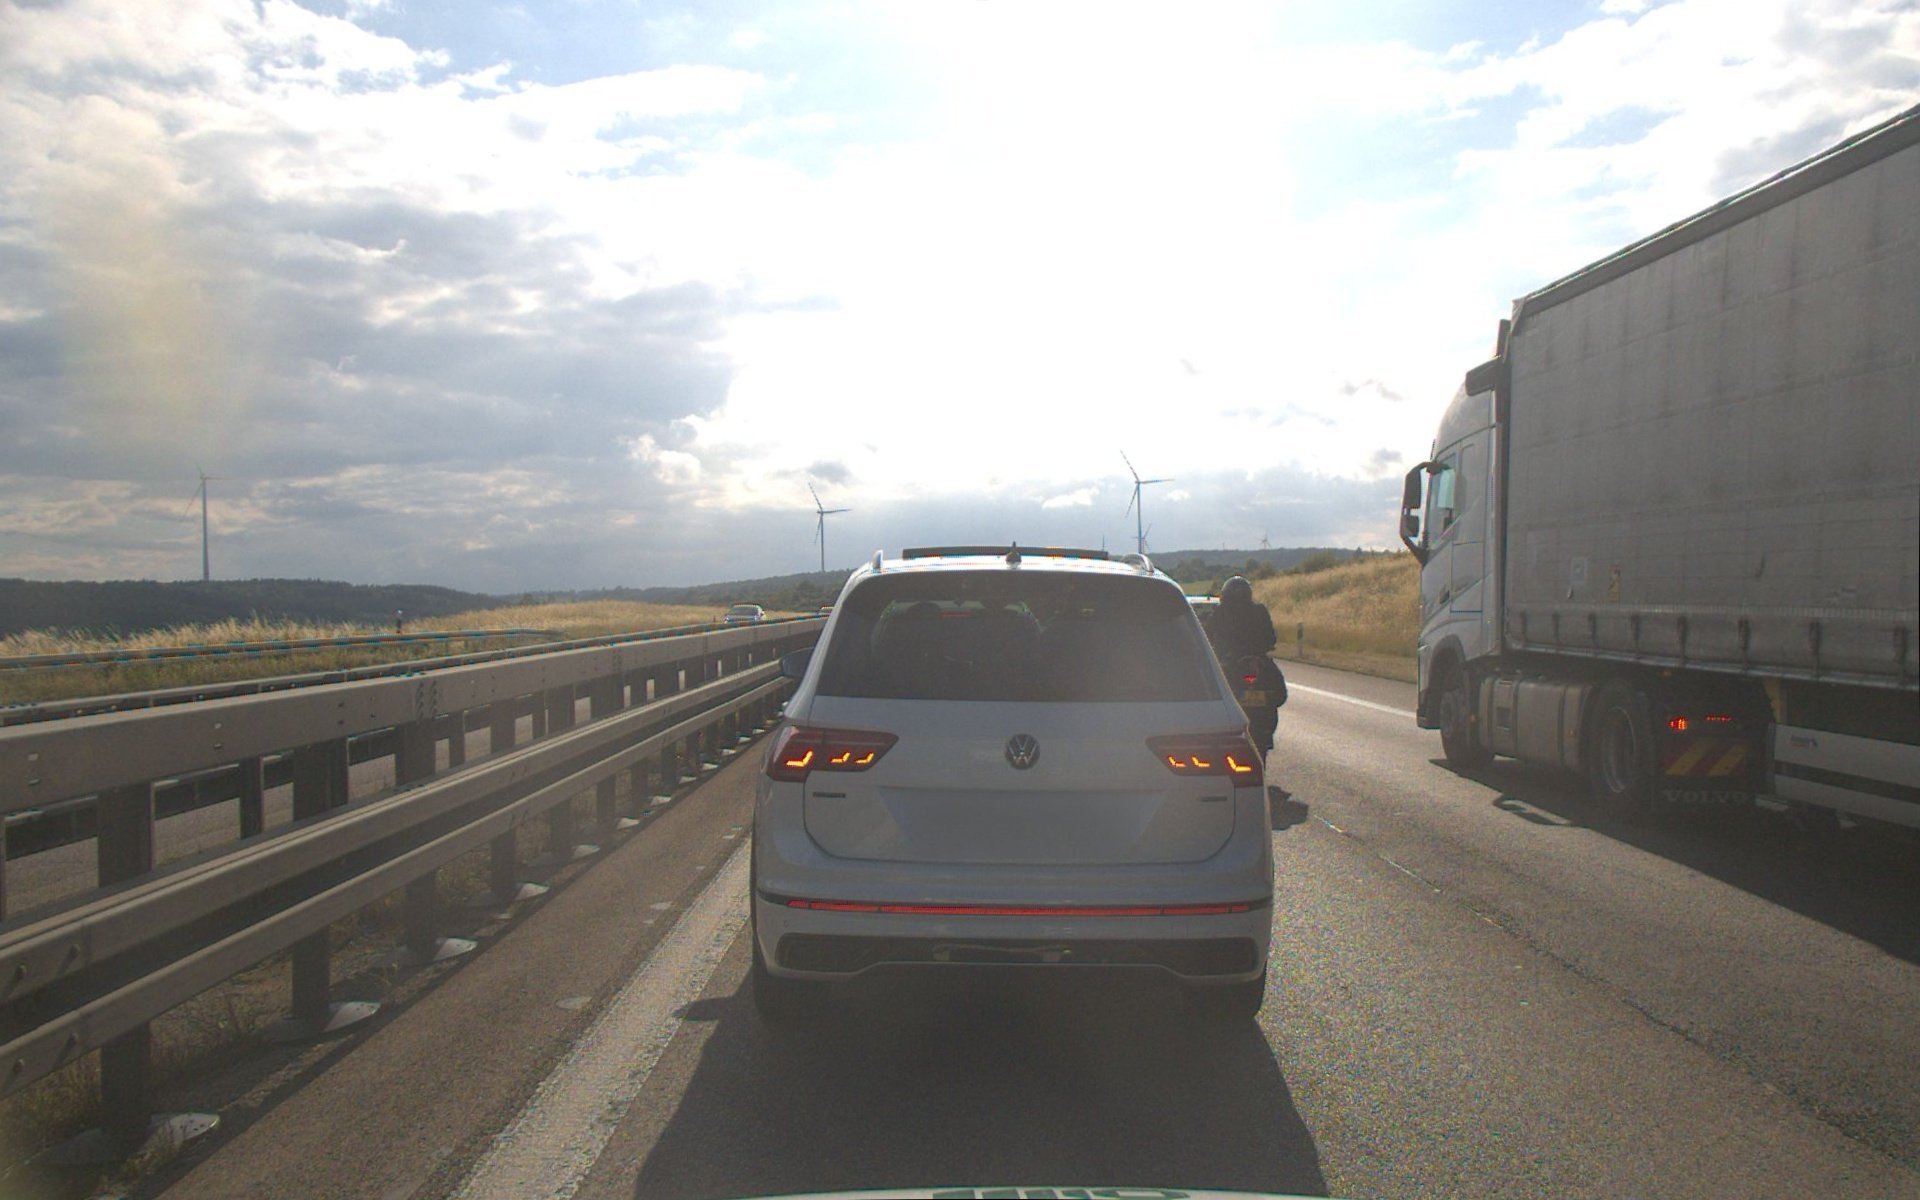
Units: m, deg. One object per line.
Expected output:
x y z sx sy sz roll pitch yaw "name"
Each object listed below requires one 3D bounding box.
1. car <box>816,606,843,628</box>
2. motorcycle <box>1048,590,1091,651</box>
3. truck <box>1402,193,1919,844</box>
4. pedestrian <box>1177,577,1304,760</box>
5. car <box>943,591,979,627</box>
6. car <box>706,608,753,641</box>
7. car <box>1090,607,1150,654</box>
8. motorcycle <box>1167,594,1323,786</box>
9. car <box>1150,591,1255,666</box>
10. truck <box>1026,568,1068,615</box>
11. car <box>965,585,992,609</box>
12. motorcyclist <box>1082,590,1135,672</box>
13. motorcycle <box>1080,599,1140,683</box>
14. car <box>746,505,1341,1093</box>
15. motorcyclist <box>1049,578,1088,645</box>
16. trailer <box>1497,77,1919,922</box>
-9.407 1.226 119.365 1.697 1.511 3.999 0 0 -1 "car"
2.714 0.497 41.275 0.877 1.481 2.268 0 0 -1 "motorcycle"
5.787 -0.518 13.554 2.548 4.111 6.117 0 0 -2 "truck"
2.337 0.555 13.879 0.877 1.481 0.983 0 -1 -1 "pedestrian"
0.025 0.433 80.040 1.669 1.679 3.999 0 0 -1 "car"
-10.760 1.141 77.408 1.697 1.511 3.999 0 0 -1 "car"
5.626 1.051 58.525 1.669 1.573 3.999 0 0 -1 "car"
2.347 0.705 13.937 0.877 1.481 2.268 0 0 -1 "motorcycle"
5.687 0.643 39.232 1.784 1.629 4.234 2 0 -1 "car"
7.019 -0.723 134.786 3.118 3.656 11.132 0 0 1 "truck"
1.222 -0.160 110.202 1.669 1.573 3.999 0 0 -1 "car"
2.712 0.558 30.259 0.877 1.481 0.892 0 -1 -2 "motorcyclist"
2.722 0.725 30.288 0.877 1.481 1.982 0 0 -1 "motorcycle"
0.223 0.589 6.823 1.734 1.705 3.999 0 0 -1 "car"
2.710 0.281 41.258 0.877 1.645 1.022 0 -1 -1 "motorcyclist"
5.975 -0.486 7.077 2.564 4.111 13.694 0 0 -2 "trailer"
